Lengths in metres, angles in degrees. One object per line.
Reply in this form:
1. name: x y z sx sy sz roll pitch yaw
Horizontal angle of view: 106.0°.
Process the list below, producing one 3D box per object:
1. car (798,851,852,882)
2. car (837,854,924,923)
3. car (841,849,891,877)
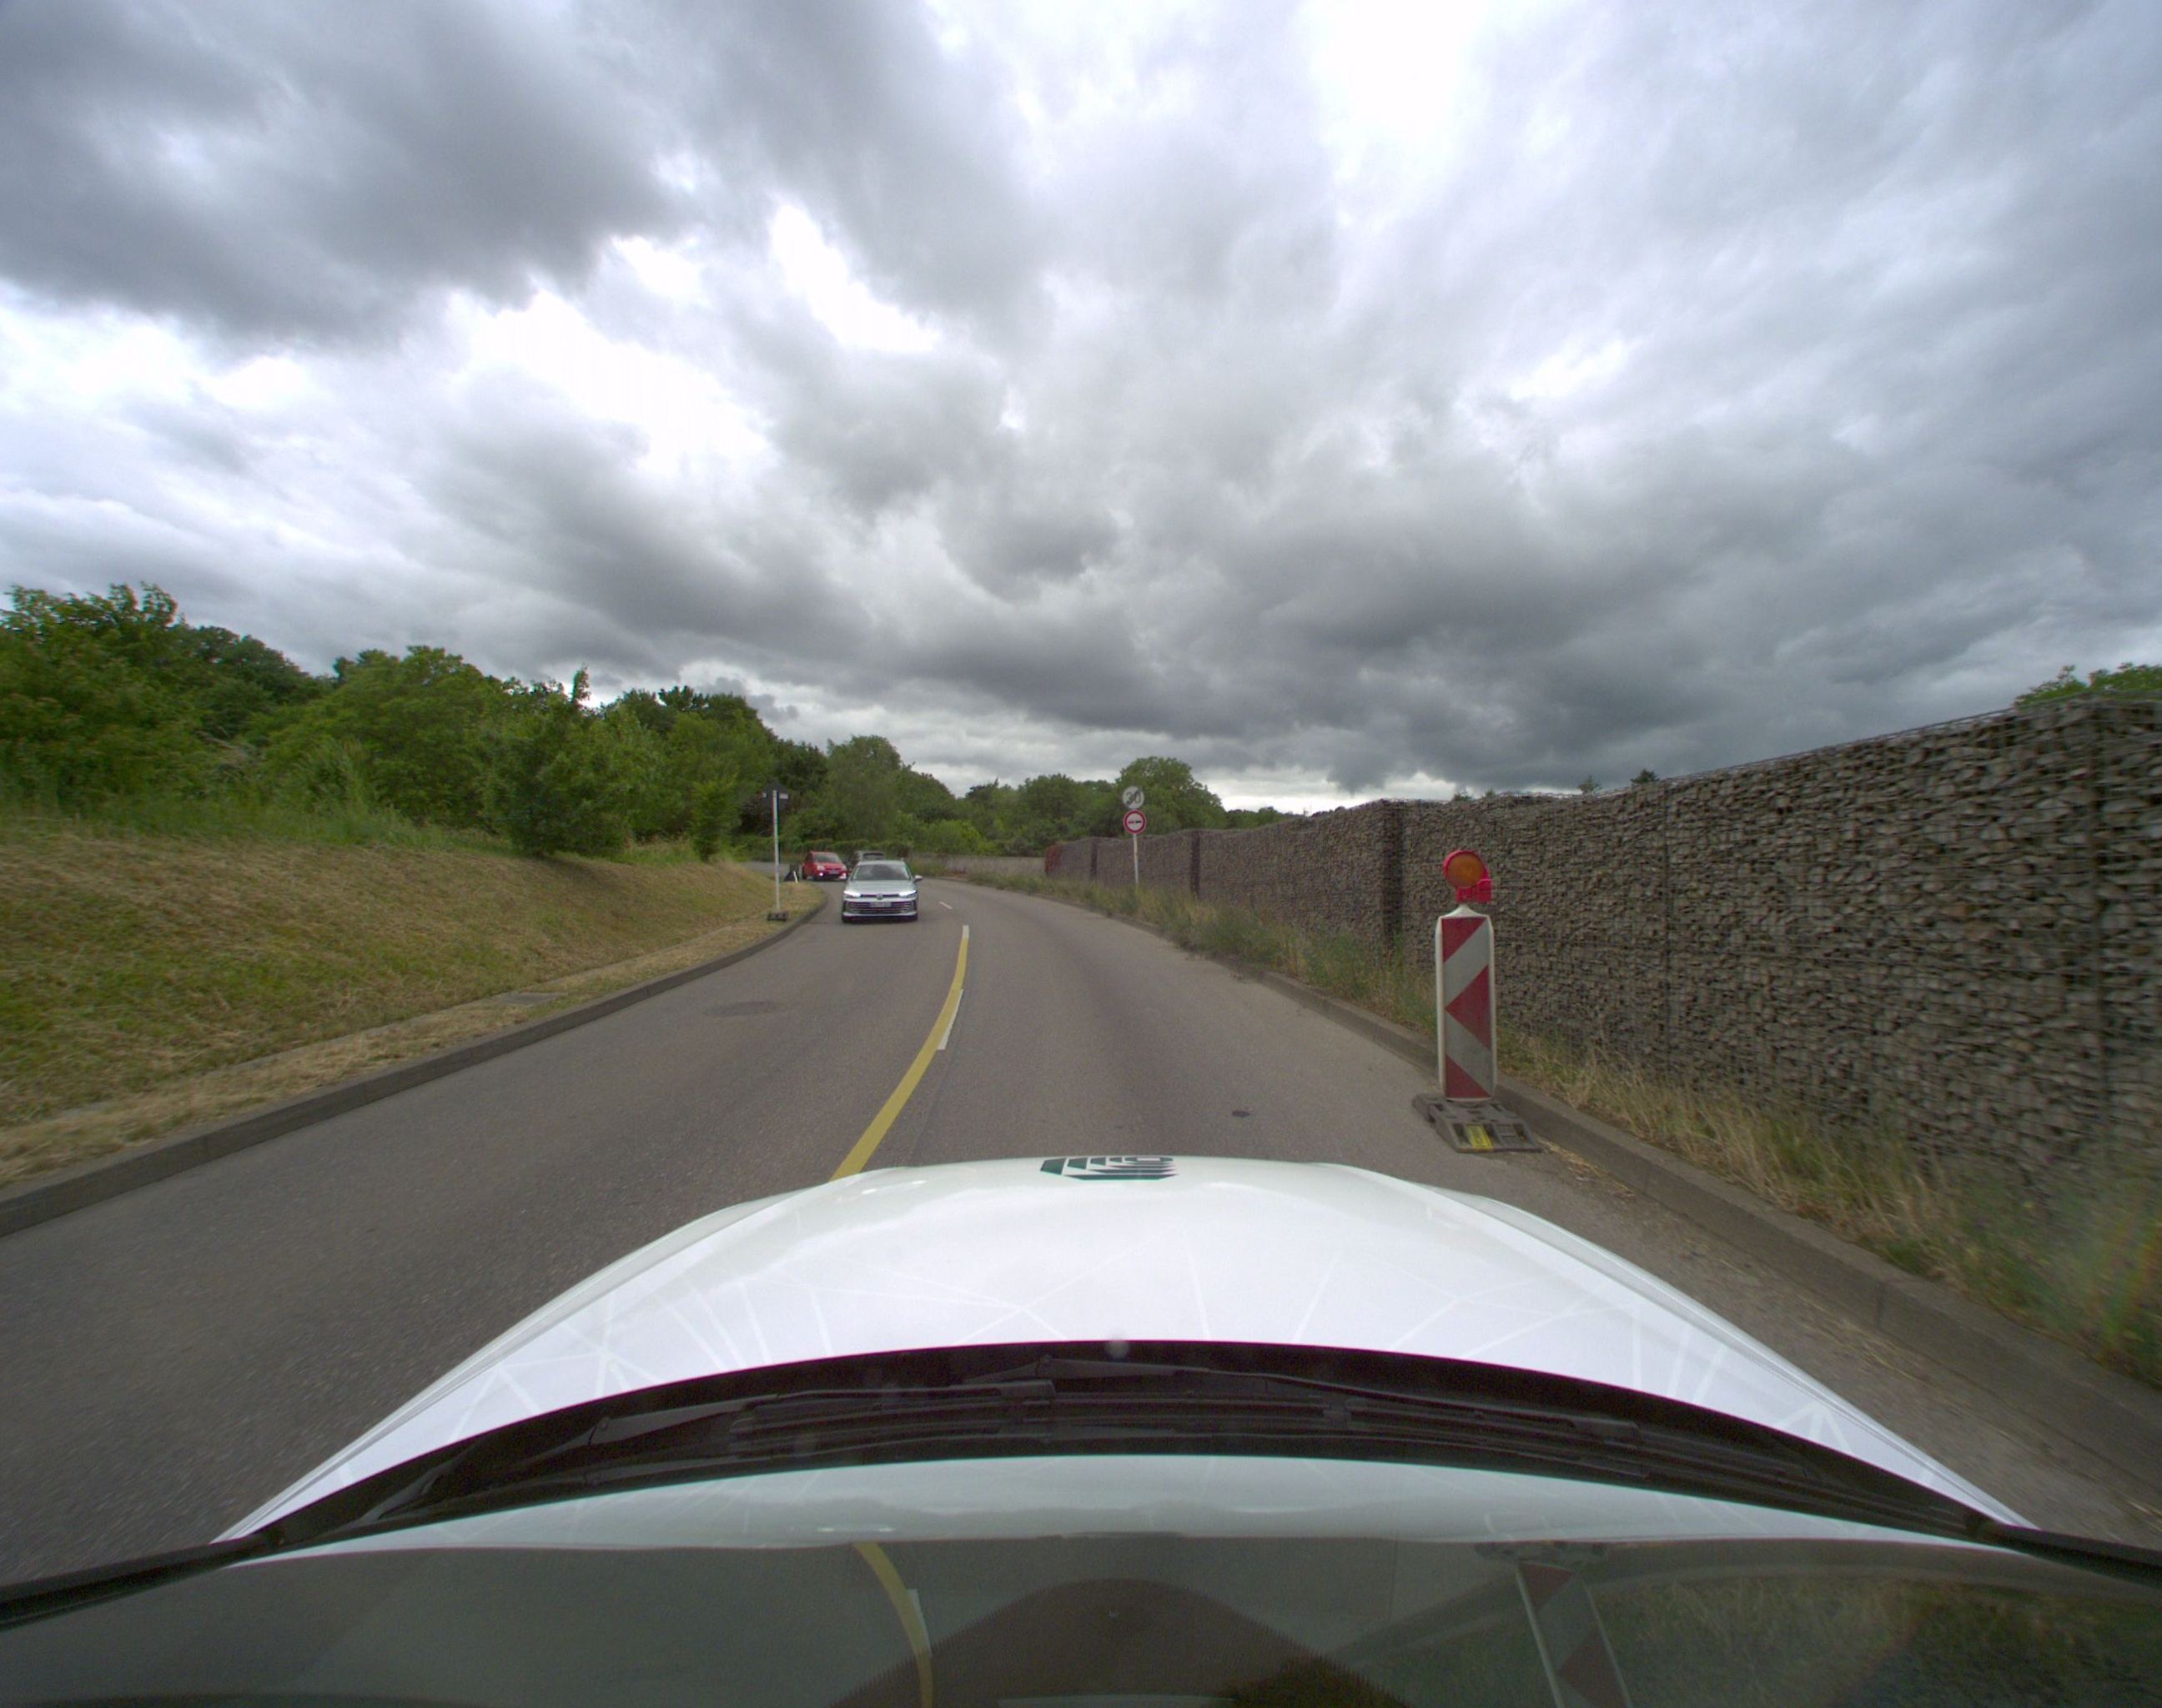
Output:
1. car: -13.316 0.612 42.205 1.753 1.416 3.716 0 1 -32
2. car: -5.098 0.800 21.238 1.882 1.477 4.586 -1 1 -10
3. car: -12.443 0.488 47.014 1.851 1.483 3.962 -1 1 -30
